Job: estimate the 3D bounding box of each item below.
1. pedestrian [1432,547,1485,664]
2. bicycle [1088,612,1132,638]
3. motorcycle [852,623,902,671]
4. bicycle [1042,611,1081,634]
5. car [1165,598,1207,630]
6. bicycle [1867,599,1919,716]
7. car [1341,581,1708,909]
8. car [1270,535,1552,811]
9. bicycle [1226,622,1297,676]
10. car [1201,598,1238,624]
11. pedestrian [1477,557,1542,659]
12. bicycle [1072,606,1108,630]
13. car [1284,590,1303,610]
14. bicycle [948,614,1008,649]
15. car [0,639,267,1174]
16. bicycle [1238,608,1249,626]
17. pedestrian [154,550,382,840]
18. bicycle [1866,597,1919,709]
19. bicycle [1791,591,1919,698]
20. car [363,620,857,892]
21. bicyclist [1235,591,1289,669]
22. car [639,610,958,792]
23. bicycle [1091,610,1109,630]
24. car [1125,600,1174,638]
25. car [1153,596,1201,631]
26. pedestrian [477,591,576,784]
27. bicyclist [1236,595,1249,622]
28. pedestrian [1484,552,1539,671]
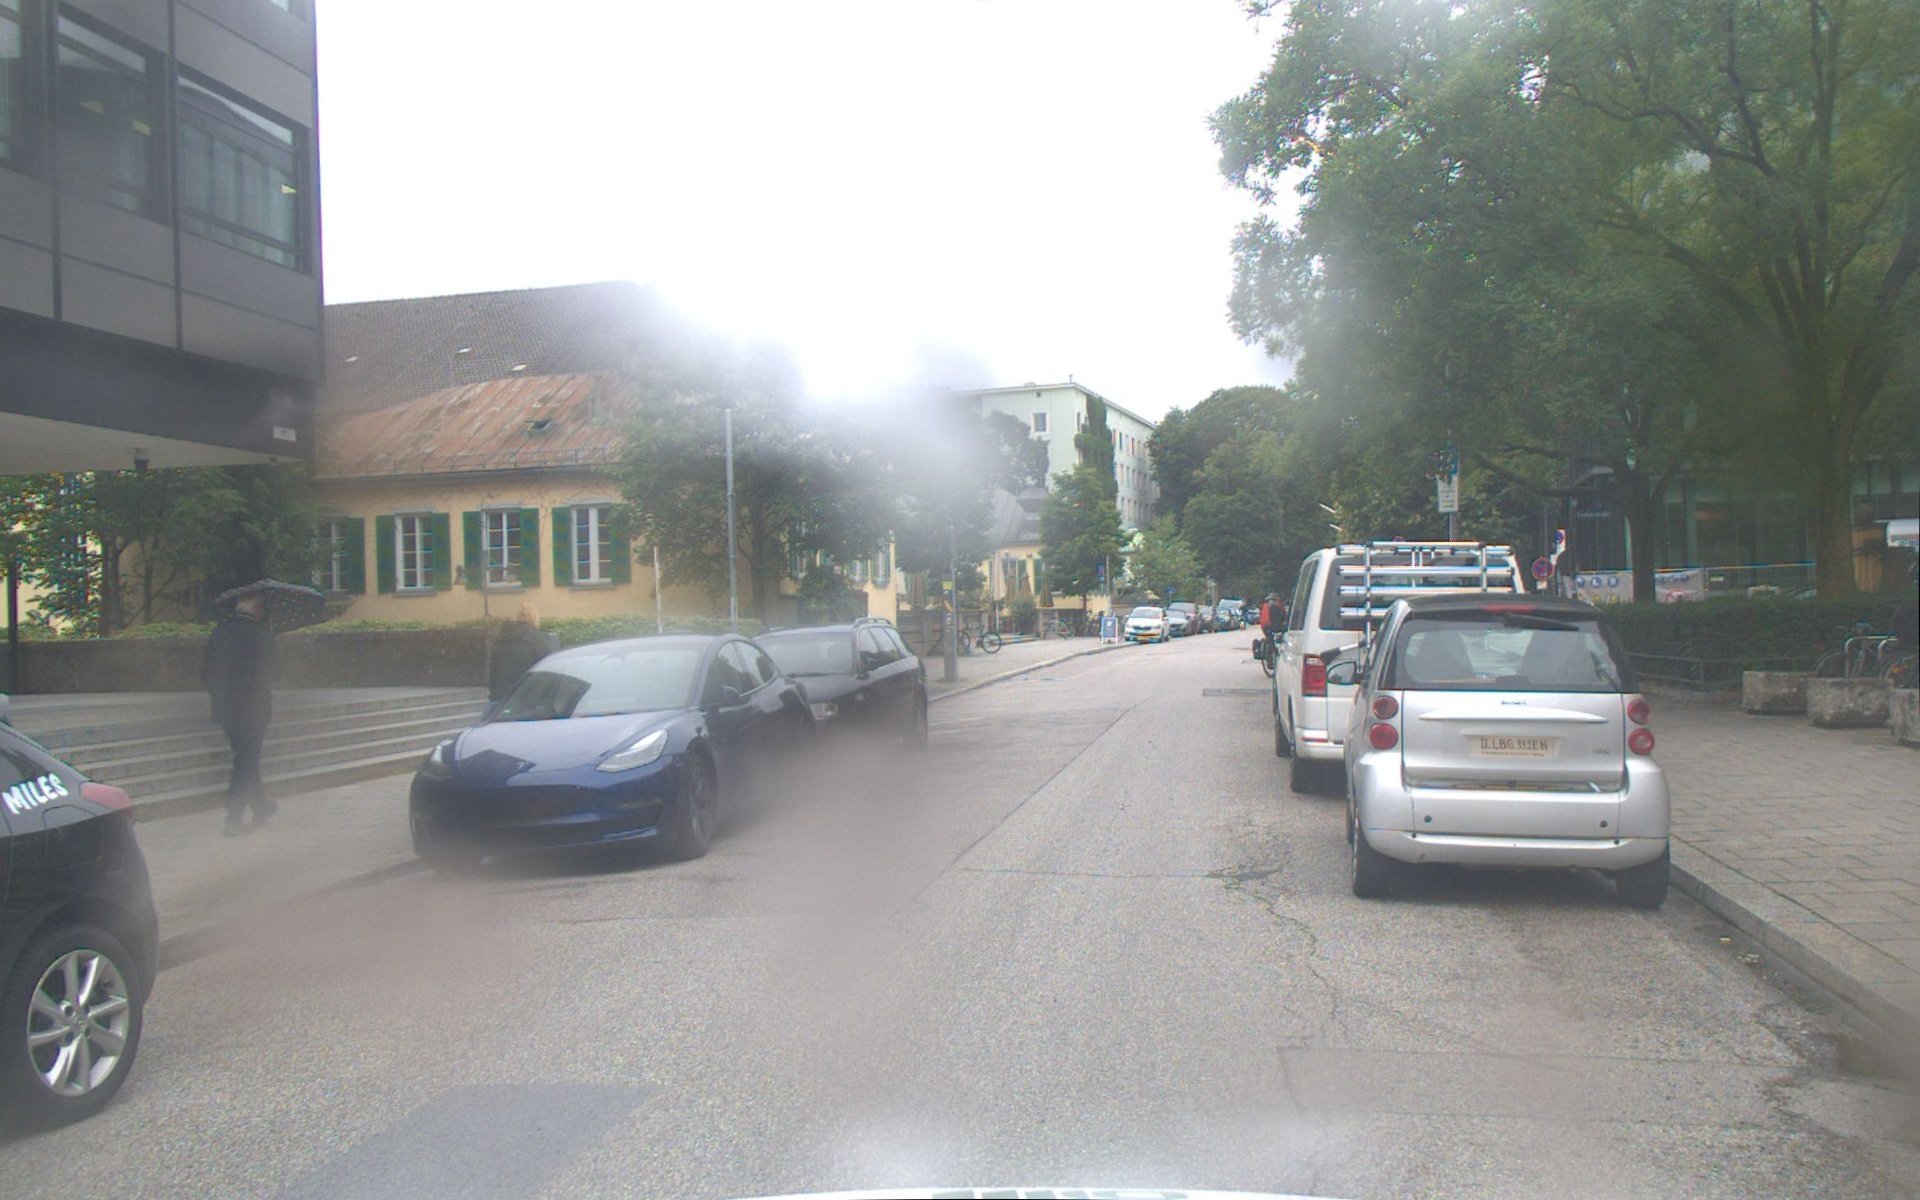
[{"bbox_3d":[9.526,0.103,31.637,0.726,2.172,1.057,-3,-1,9],"label":"pedestrian"},{"bbox_3d":[6.197,1.021,68.304,0.613,1.021,2.126,1,1,43],"label":"bicycle"},{"bbox_3d":[-2.043,1.146,40.568,0.550,1.120,1.823,0,0,-26],"label":"motorcycle"},{"bbox_3d":[4.491,1.002,72.962,1.586,0.942,0.649,-2,-2,-15],"label":"bicycle"},{"bbox_3d":[12.306,0.772,89.965,1.951,1.631,4.003,-2,-1,11],"label":"car"},{"bbox_3d":[10.185,0.534,16.496,1.890,1.133,0.472,-3,-1,12],"label":"bicycle"},{"bbox_3d":[3.076,0.690,9.524,1.571,1.573,2.936,0,0,10],"label":"car"},{"bbox_3d":[3.744,0.510,14.589,1.805,1.967,5.277,1,0,9],"label":"car"},{"bbox_3d":[6.008,0.960,32.890,0.610,1.022,2.134,-3,-2,32],"label":"bicycle"},{"bbox_3d":[16.801,0.696,107.097,1.951,1.512,4.003,-2,0,14],"label":"car"},{"bbox_3d":[10.754,0.146,32.383,1.048,1.941,0.732,-2,-1,-45],"label":"pedestrian"},{"bbox_3d":[6.224,0.850,79.356,1.596,1.021,0.617,-5,1,-29],"label":"bicycle"},{"bbox_3d":[35.098,-0.020,173.990,1.951,2.135,4.004,1,0,12],"label":"car"},{"bbox_3d":[0.594,1.026,54.181,1.889,1.118,0.615,0,0,13],"label":"bicycle"},{"bbox_3d":[-3.775,0.952,4.004,1.703,1.486,4.240,-4,-1,11],"label":"car"},{"bbox_3d":[17.666,1.048,103.162,0.608,1.022,2.142,-2,0,9],"label":"bicycle"},{"bbox_3d":[-5.257,0.693,12.650,1.111,2.091,1.222,-1,0,9],"label":"pedestrian"},{"bbox_3d":[10.579,0.514,17.228,1.890,1.133,0.472,-3,-1,12],"label":"bicycle"},{"bbox_3d":[10.583,0.484,18.742,1.988,1.133,0.471,-3,-1,7],"label":"bicycle"},{"bbox_3d":[-2.230,0.956,12.166,1.882,1.464,4.922,-4,-1,8],"label":"car"},{"bbox_3d":[6.014,0.596,32.938,0.659,1.524,1.092,-3,-2,32],"label":"bicyclist"},{"bbox_3d":[-1.484,0.941,17.383,1.951,1.516,4.887,-4,-1,11],"label":"car"},{"bbox_3d":[7.184,1.042,84.646,0.608,1.022,1.620,-2,-2,16],"label":"bicycle"},{"bbox_3d":[8.340,0.807,72.503,1.697,1.609,3.791,1,0,13],"label":"car"},{"bbox_3d":[11.155,0.648,84.797,1.951,1.677,4.659,-2,0,13],"label":"car"},{"bbox_3d":[-4.182,0.824,16.011,0.738,1.780,0.952,-2,-1,-6],"label":"pedestrian"},{"bbox_3d":[17.617,0.520,103.194,0.727,1.603,0.978,-2,0,9],"label":"bicyclist"},{"bbox_3d":[10.366,0.209,31.116,0.726,2.172,1.057,-3,-1,9],"label":"pedestrian"}]
